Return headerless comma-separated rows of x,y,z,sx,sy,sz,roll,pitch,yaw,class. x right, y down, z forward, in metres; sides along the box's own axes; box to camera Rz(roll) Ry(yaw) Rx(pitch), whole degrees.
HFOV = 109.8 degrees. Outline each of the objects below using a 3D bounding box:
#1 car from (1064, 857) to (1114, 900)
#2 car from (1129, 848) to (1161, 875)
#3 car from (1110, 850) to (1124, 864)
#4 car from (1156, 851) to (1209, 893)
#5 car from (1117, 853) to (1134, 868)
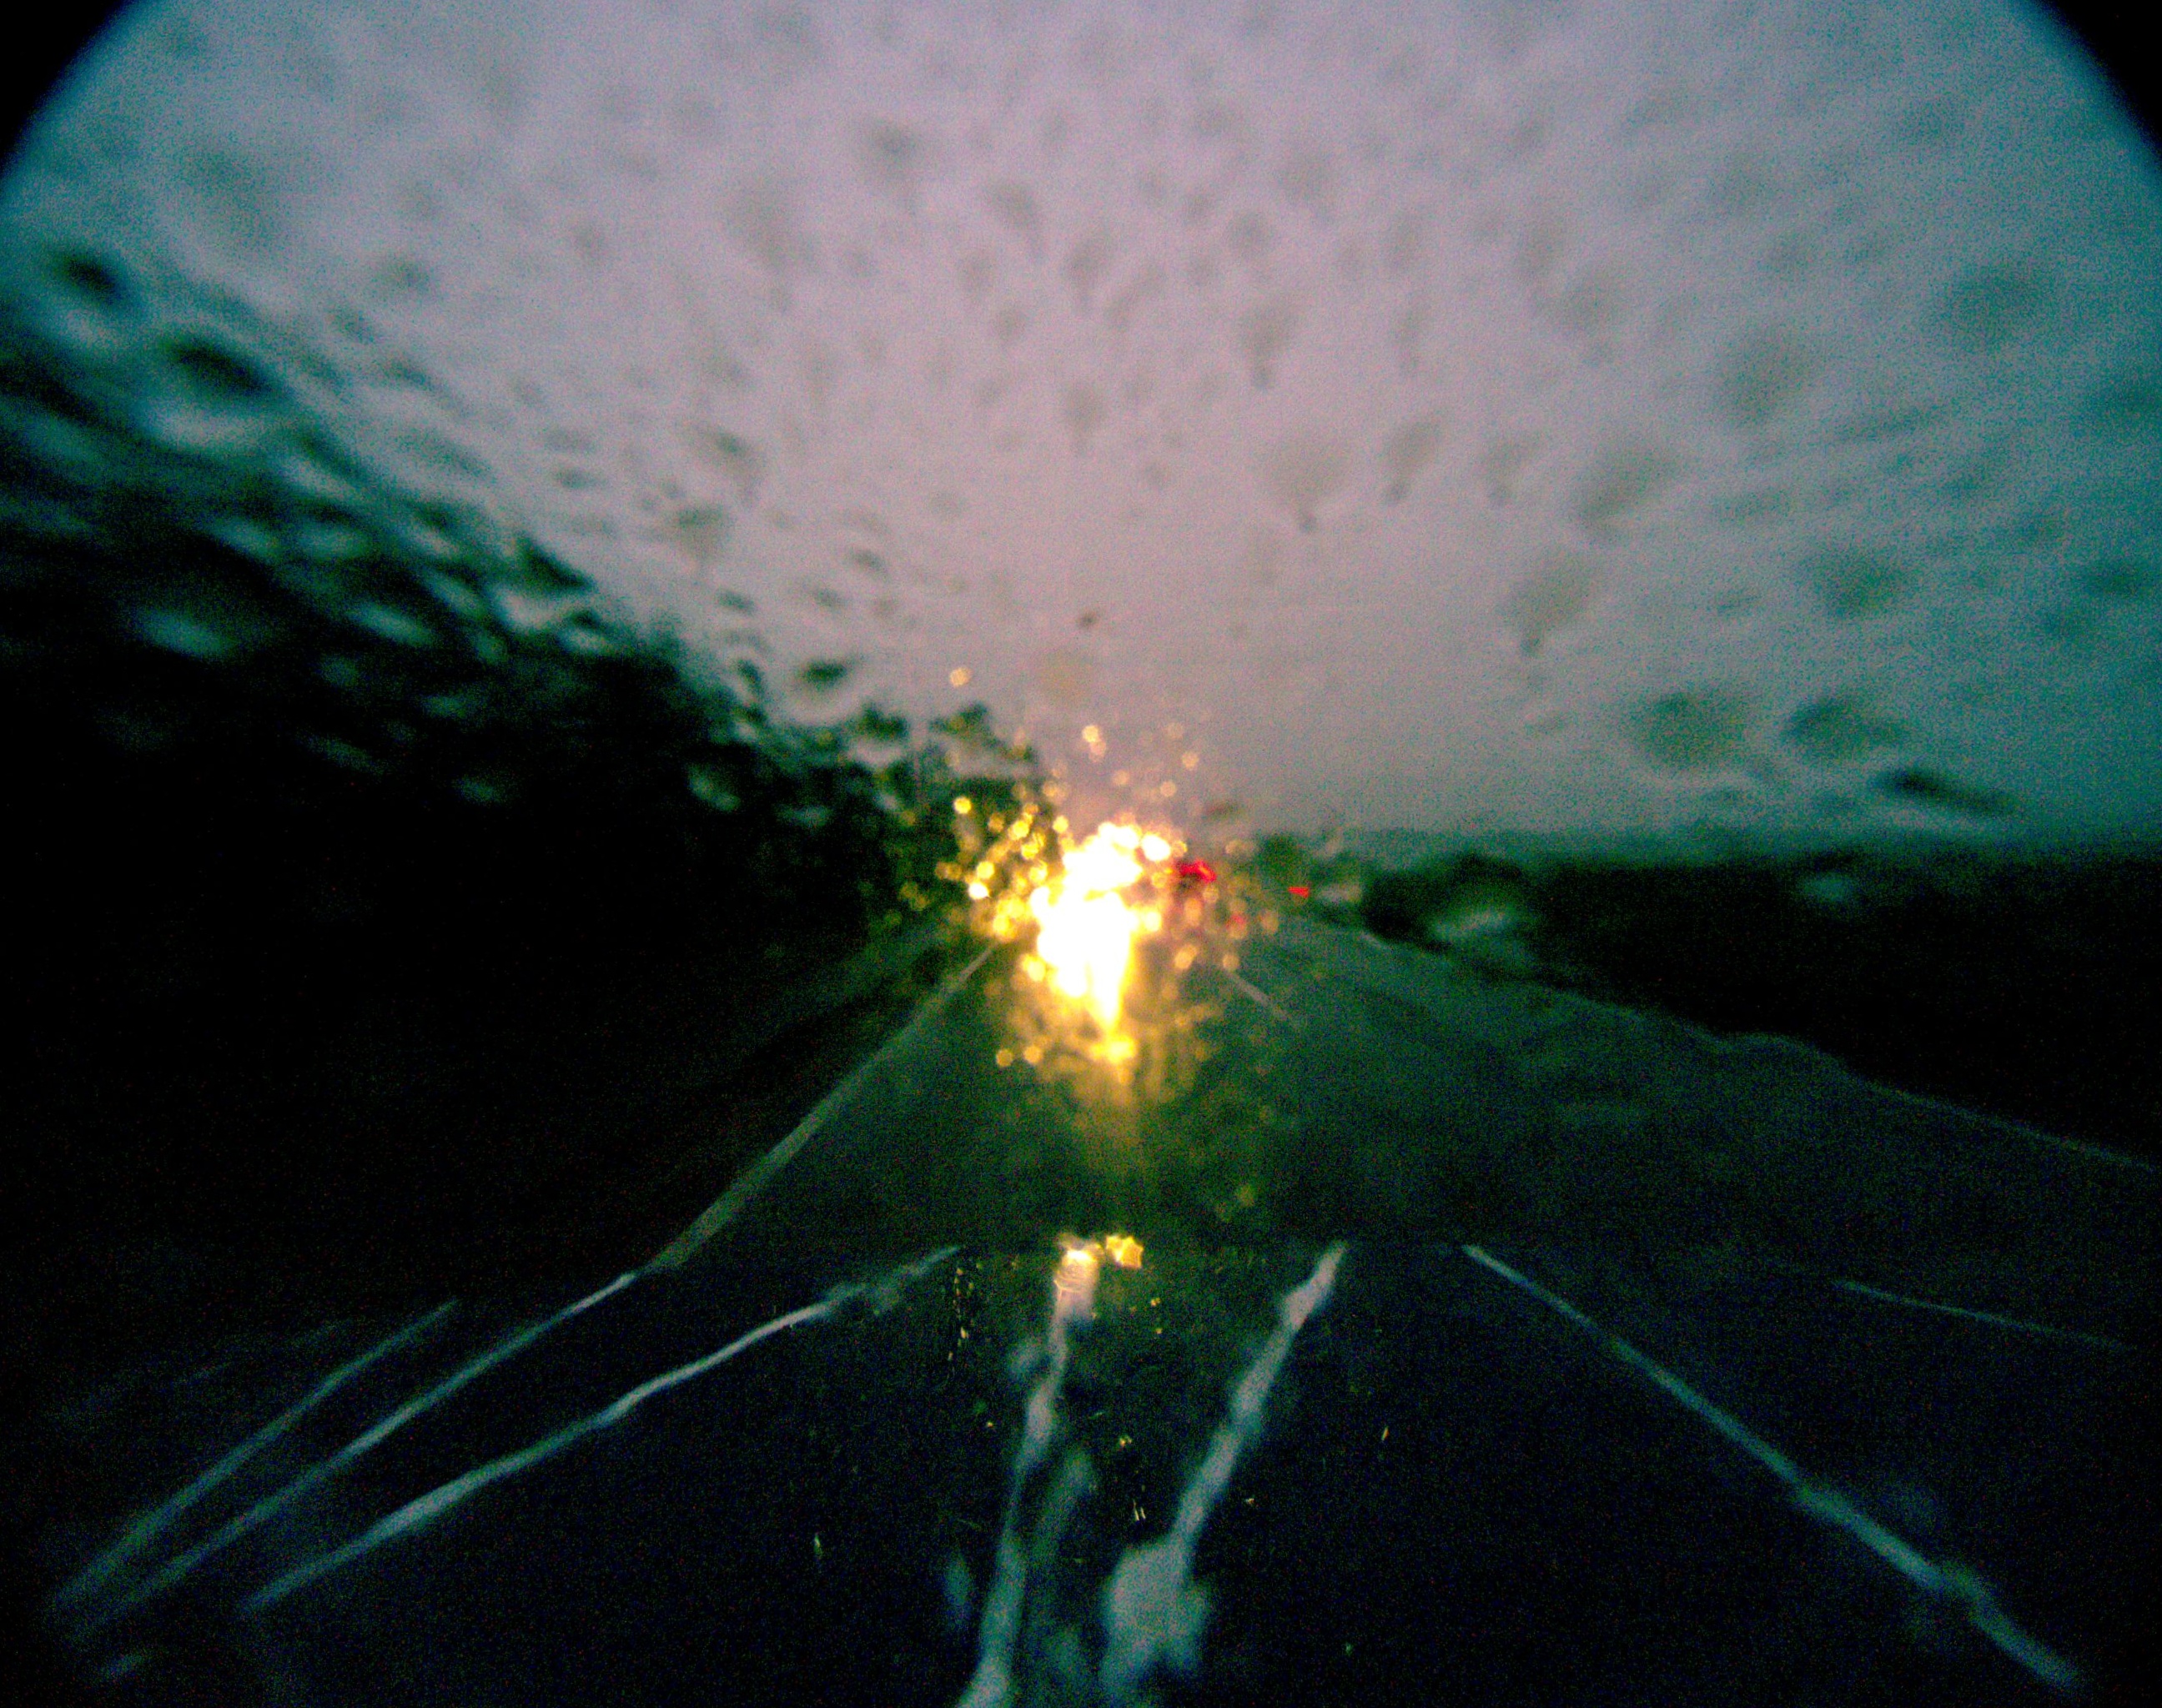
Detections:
0.296,0.922,30.689,1.844,1.484,3.955,-2,1,0,car
4.701,0.544,56.227,1.998,1.860,4.952,1,0,1,car
5.315,0.390,112.480,1.871,2.041,4.293,-1,0,1,car
4.312,0.732,32.923,1.733,1.637,4.261,1,0,1,car
4.810,0.667,82.211,1.630,1.464,3.512,1,1,1,car
